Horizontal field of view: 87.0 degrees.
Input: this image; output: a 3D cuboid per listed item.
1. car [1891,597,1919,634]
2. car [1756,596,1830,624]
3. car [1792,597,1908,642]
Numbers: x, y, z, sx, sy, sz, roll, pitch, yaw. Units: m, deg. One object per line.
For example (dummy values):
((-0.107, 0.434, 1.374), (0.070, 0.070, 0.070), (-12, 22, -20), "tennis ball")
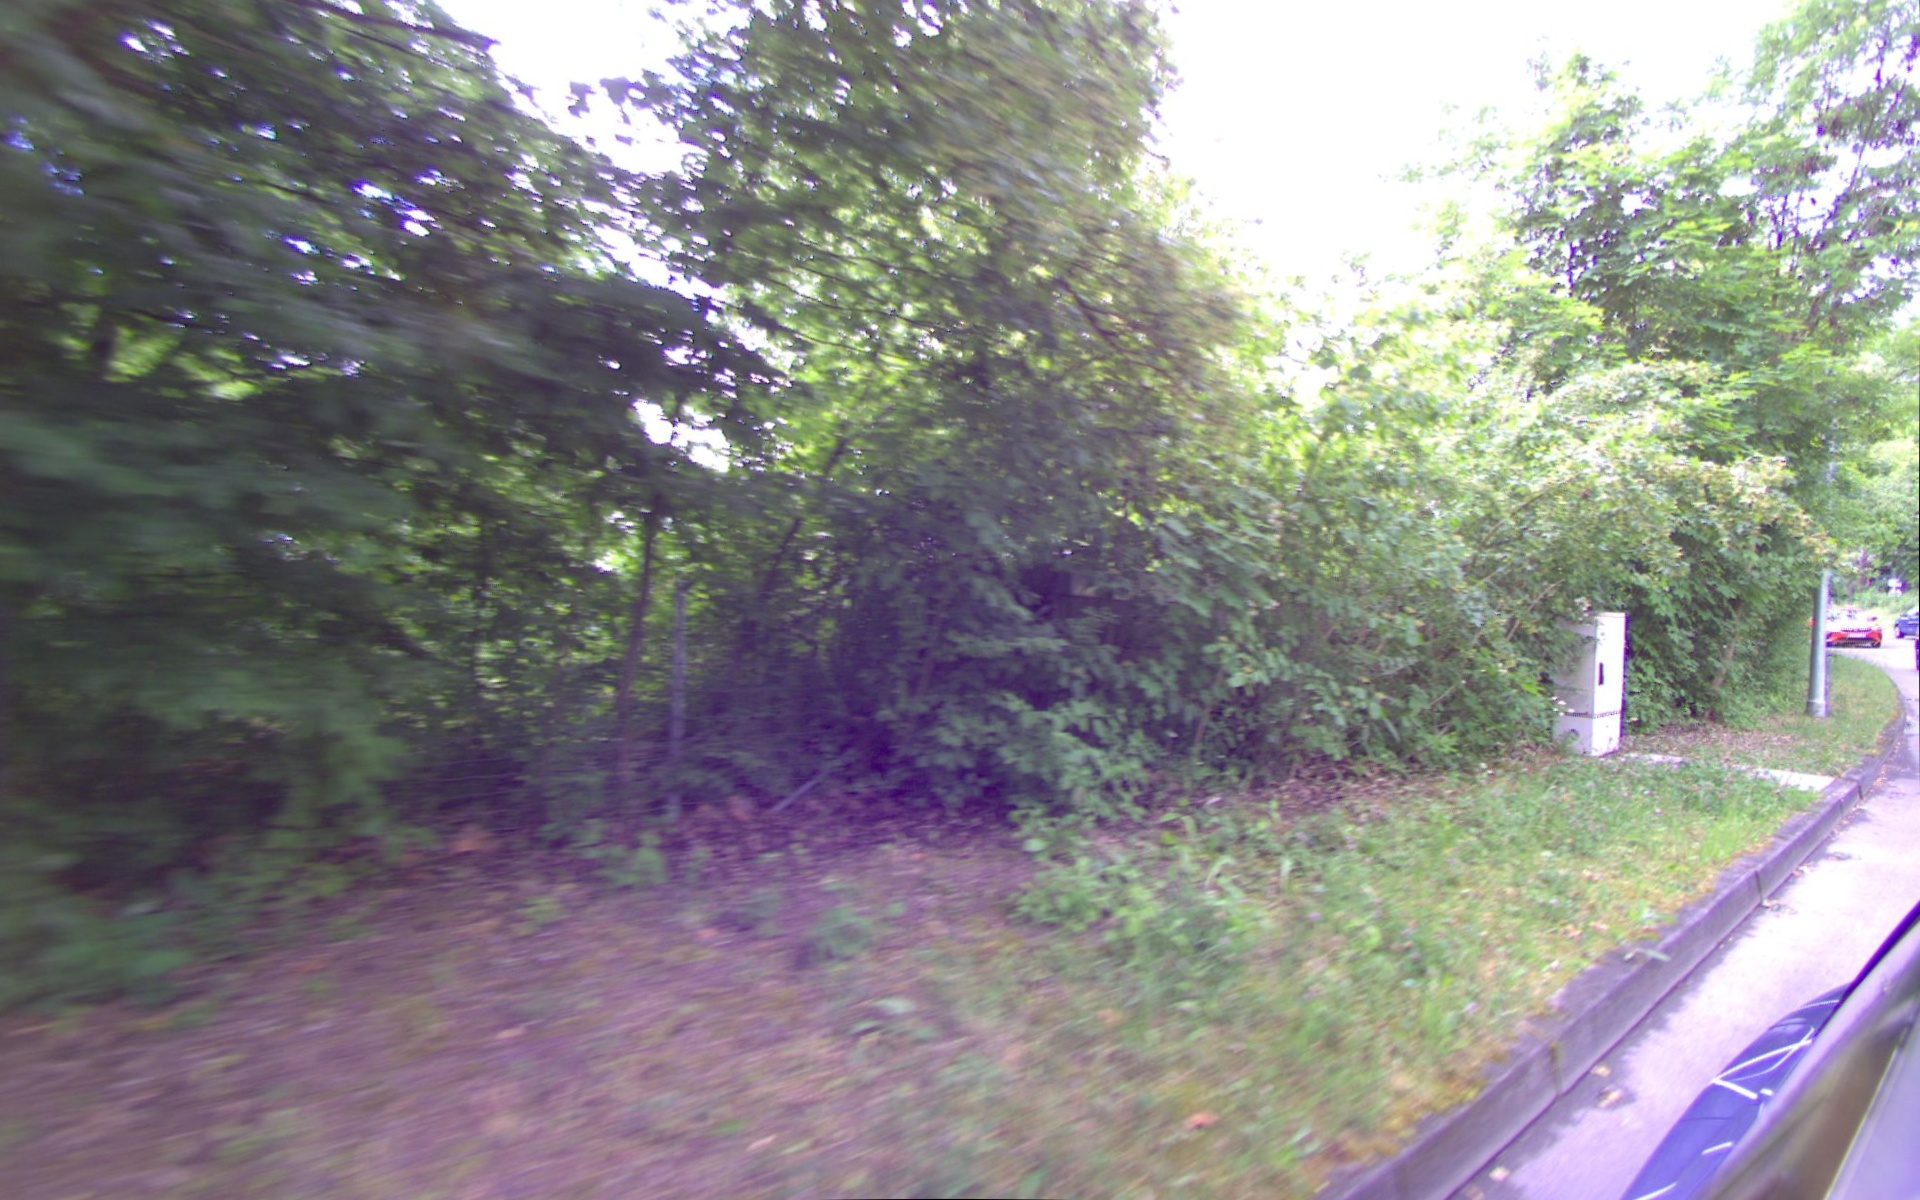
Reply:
((40.327, 0.662, 41.517), (1.833, 1.510, 3.969), (1, 1, 23), "car")
((47.185, 0.550, 57.405), (1.829, 1.510, 3.978), (1, 1, 17), "car")
((32.710, 0.670, 37.353), (1.926, 1.551, 4.057), (0, 0, 21), "car")
